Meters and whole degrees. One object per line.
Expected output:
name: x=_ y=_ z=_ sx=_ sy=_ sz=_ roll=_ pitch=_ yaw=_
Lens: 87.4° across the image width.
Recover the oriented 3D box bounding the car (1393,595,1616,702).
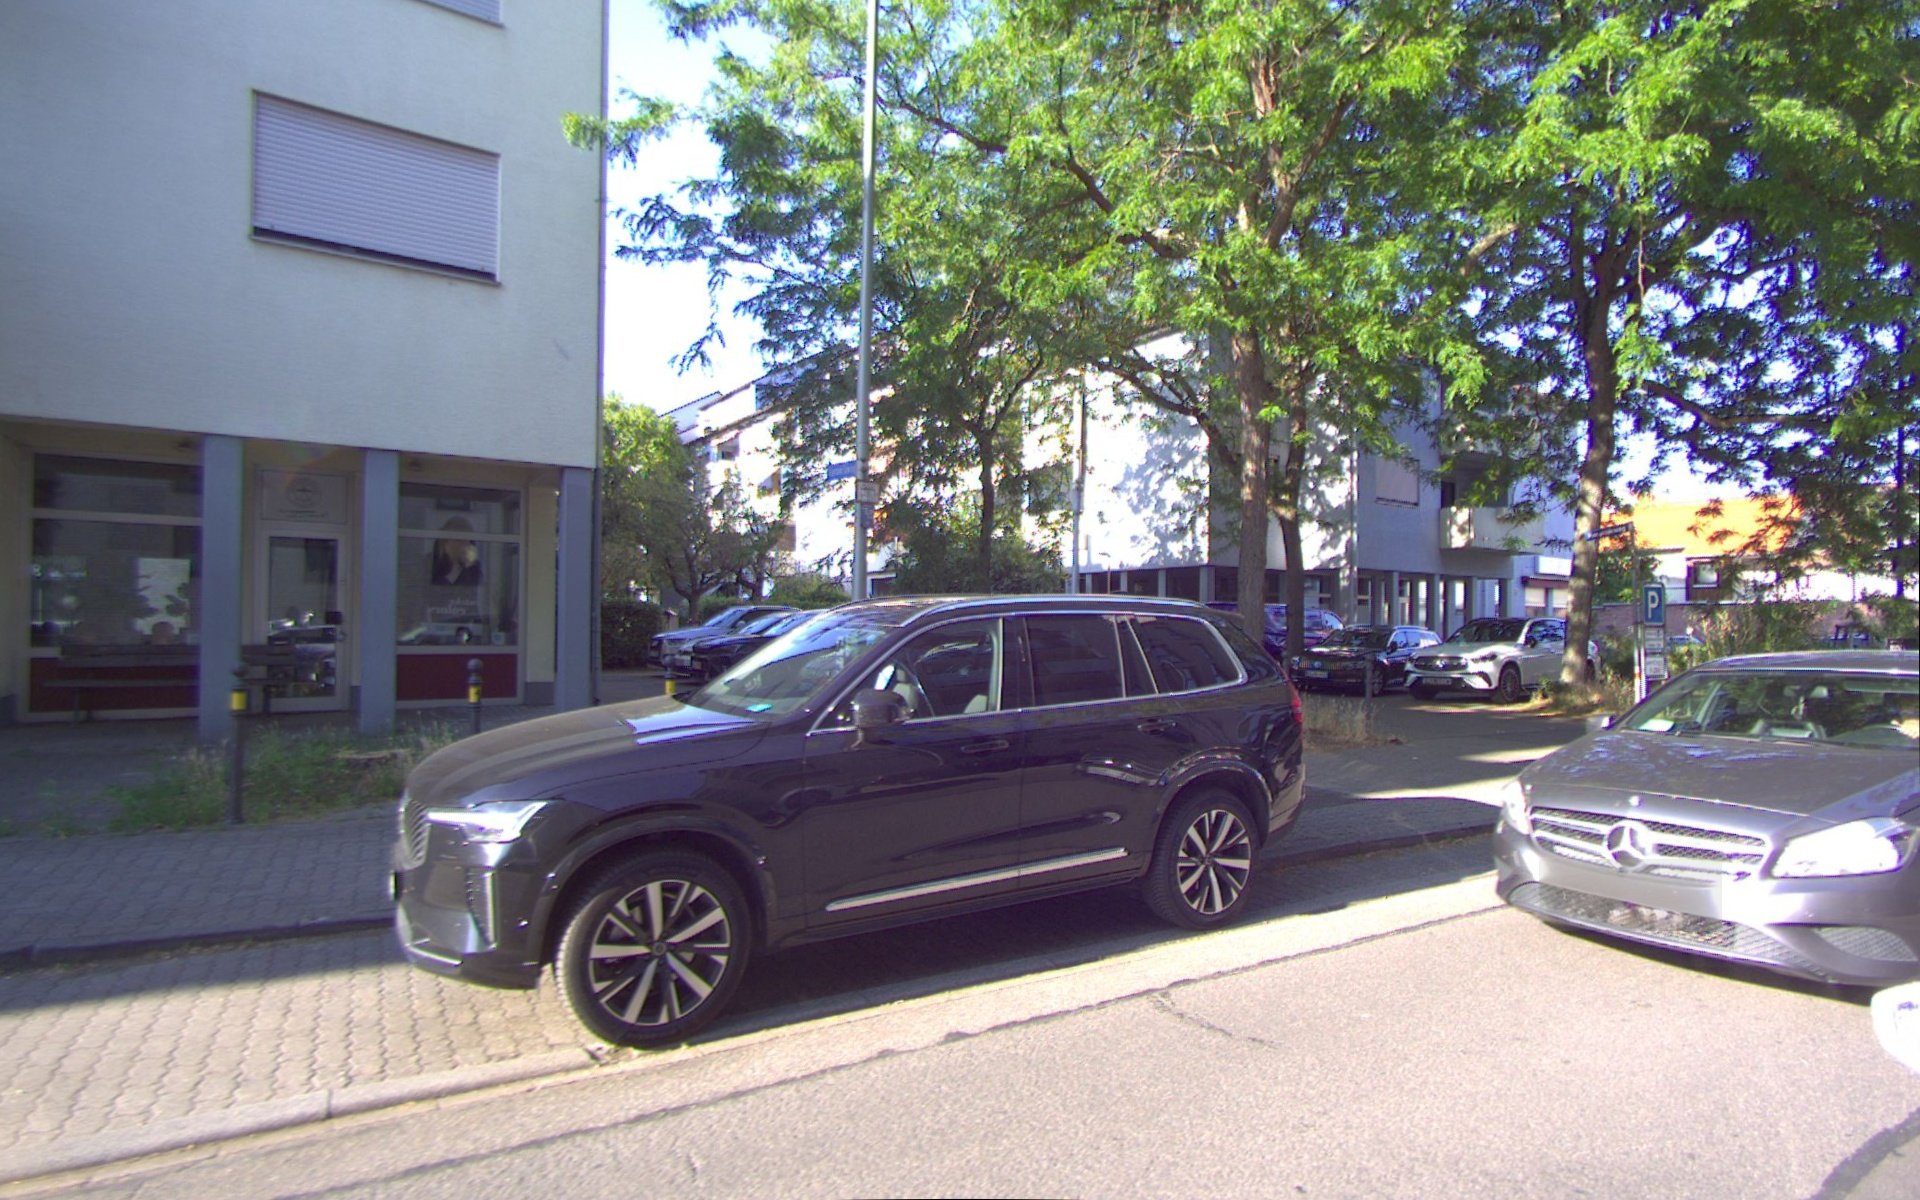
car: x=10.932 y=0.910 z=20.060 sx=4.853 sy=1.920 sz=1.832 roll=1 pitch=-1 yaw=-33

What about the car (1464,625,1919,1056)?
car: x=4.599 y=0.906 z=5.241 sx=3.957 sy=1.486 sz=1.797 roll=2 pitch=-2 yaw=-33

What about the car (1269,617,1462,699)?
car: x=8.767 y=1.202 z=21.684 sx=3.767 sy=1.596 sz=2.063 roll=2 pitch=-1 yaw=-33

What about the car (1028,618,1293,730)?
car: x=2.887 y=1.004 z=14.338 sx=3.594 sy=1.427 sz=1.514 roll=2 pitch=-1 yaw=-29

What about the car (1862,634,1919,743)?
car: x=15.153 y=1.283 z=14.798 sx=3.953 sy=1.511 sz=1.689 roll=2 pitch=-2 yaw=-31

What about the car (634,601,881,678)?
car: x=-4.519 y=0.866 z=22.702 sx=5.126 sy=1.581 sz=1.929 roll=1 pitch=-1 yaw=-31

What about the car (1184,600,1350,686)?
car: x=7.705 y=1.034 z=25.051 sx=4.290 sy=1.974 sz=2.000 roll=2 pitch=-1 yaw=-41

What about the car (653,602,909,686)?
car: x=-3.626 y=0.873 z=20.669 sx=4.781 sy=1.495 sz=1.982 roll=2 pitch=1 yaw=-33

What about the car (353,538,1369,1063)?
car: x=-0.284 y=0.694 z=5.420 sx=5.041 sy=1.728 sz=1.922 roll=2 pitch=1 yaw=-31

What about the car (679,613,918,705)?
car: x=-2.789 y=0.987 z=17.457 sx=3.765 sy=1.459 sz=1.679 roll=2 pitch=-1 yaw=-29

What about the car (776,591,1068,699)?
car: x=-0.484 y=0.675 z=15.501 sx=4.391 sy=1.460 sz=1.565 roll=2 pitch=-2 yaw=-37
